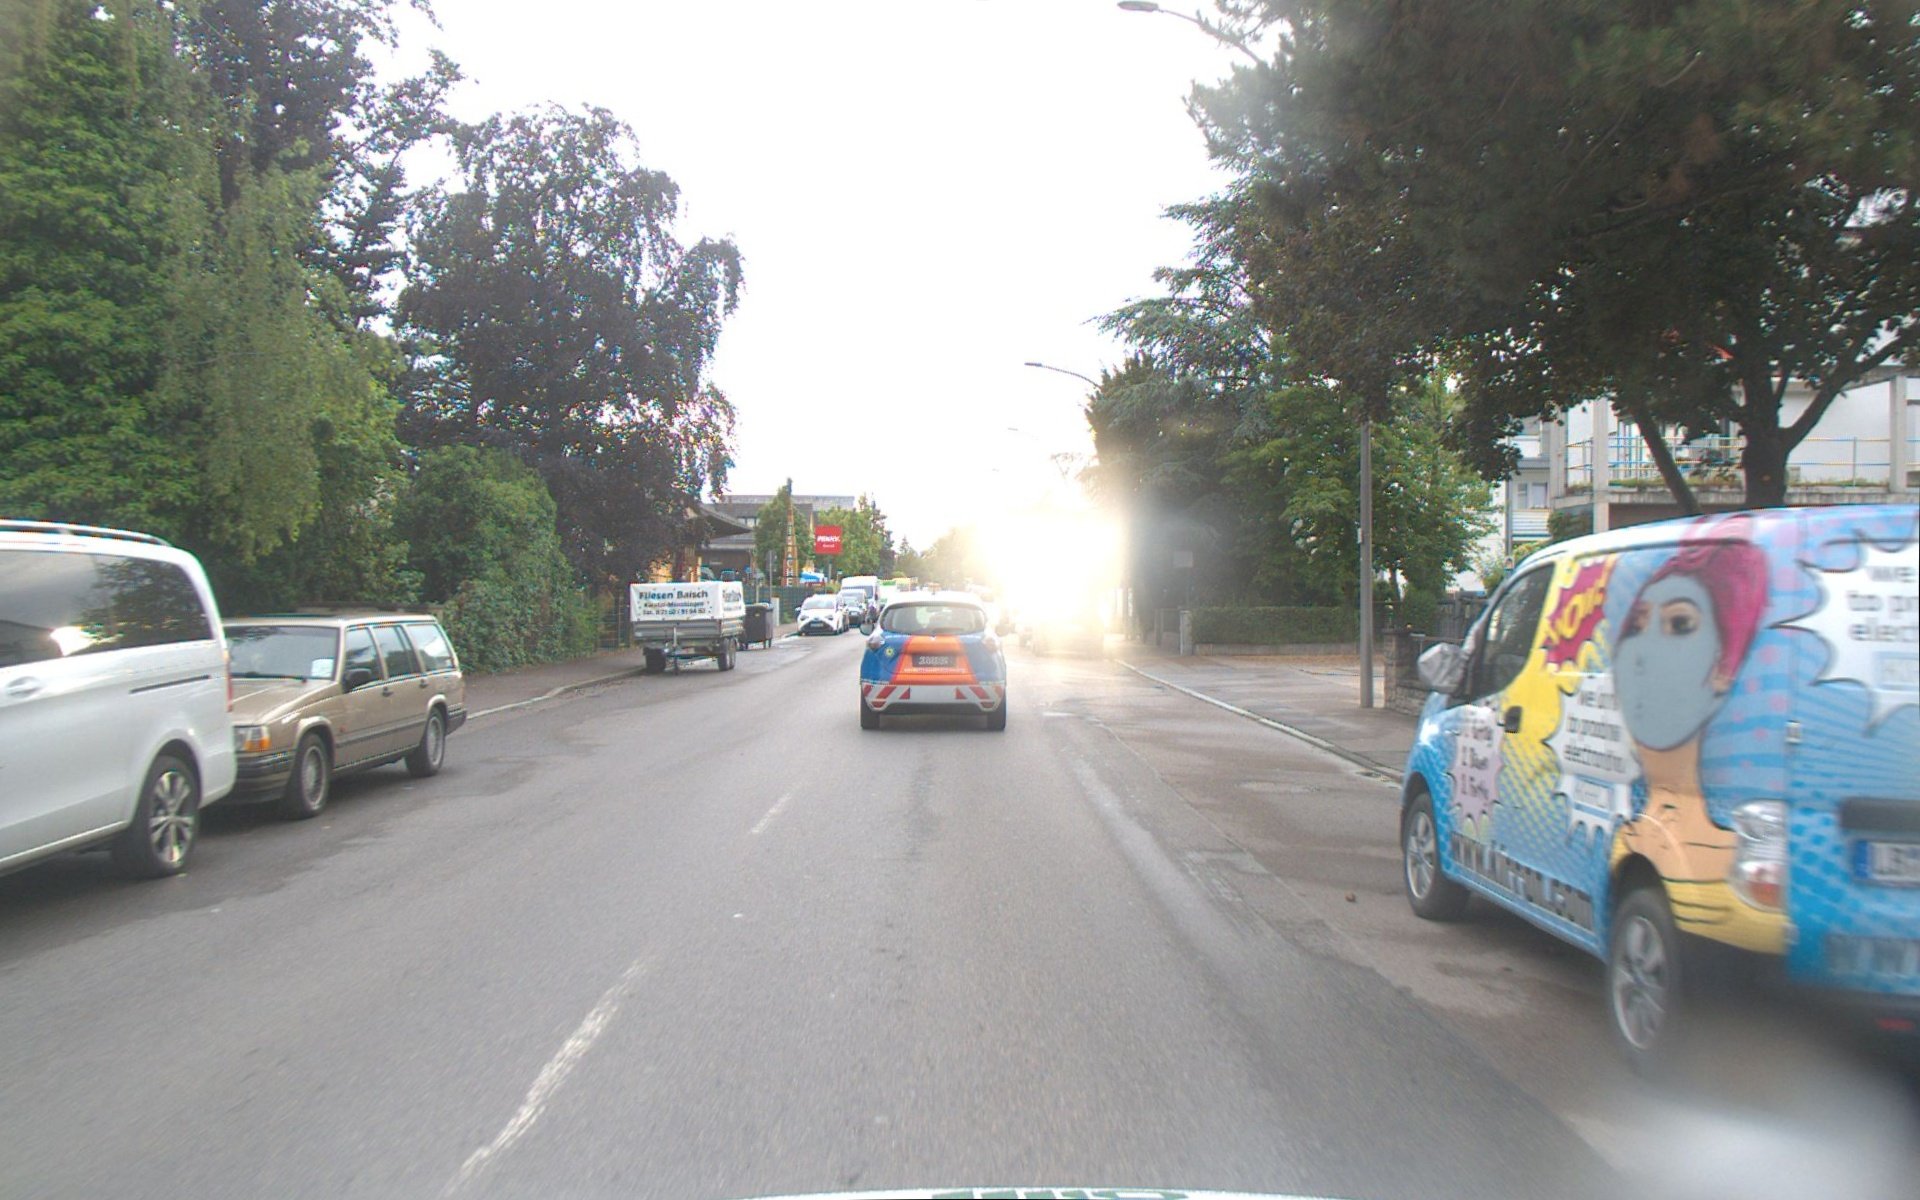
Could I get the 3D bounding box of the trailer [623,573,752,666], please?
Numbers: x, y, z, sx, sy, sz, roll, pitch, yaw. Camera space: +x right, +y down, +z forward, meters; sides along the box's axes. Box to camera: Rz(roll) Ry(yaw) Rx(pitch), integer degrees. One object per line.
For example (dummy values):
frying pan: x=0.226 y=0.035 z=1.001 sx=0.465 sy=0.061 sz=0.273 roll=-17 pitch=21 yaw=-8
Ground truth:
trailer: x=-5.616 y=0.353 z=34.597 sx=1.890 sy=1.796 sz=4.548 roll=1 pitch=1 yaw=0

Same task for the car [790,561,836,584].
car: x=-14.238 y=-2.643 z=160.495 sx=4.218 sy=2.049 sz=2.063 roll=2 pitch=0 yaw=0

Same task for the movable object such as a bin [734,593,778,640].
movable object such as a bin: x=-6.054 y=0.485 z=49.163 sx=1.078 sy=1.333 sz=1.425 roll=2 pitch=0 yaw=-1

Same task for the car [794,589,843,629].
car: x=-5.599 y=0.325 z=65.591 sx=1.583 sy=1.535 sz=3.660 roll=-1 pitch=0 yaw=0

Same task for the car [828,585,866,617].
car: x=-5.427 y=0.030 z=79.895 sx=1.628 sy=1.474 sz=4.316 roll=-1 pitch=0 yaw=-2

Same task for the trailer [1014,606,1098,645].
trailer: x=2.865 y=0.742 z=50.629 sx=2.129 sy=0.913 sz=6.636 roll=2 pitch=1 yaw=0

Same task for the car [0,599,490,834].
car: x=-5.362 y=0.753 z=13.160 sx=1.779 sy=1.452 sz=4.981 roll=-1 pitch=0 yaw=0

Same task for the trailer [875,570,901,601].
trailer: x=-5.629 y=-1.170 z=129.538 sx=1.776 sy=2.354 sz=4.730 roll=-2 pitch=1 yaw=-1

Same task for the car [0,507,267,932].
car: x=-5.280 y=0.553 z=7.720 sx=1.854 sy=1.925 sz=5.210 roll=-1 pitch=0 yaw=0

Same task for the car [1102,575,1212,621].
car: x=8.812 y=-0.089 z=74.227 sx=4.635 sy=1.919 sz=2.000 roll=2 pitch=0 yaw=0

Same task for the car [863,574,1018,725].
car: x=-0.241 y=0.535 z=19.981 sx=1.696 sy=1.659 sz=3.494 roll=0 pitch=0 yaw=-1

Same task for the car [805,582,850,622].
car: x=-5.615 y=0.079 z=70.623 sx=1.627 sy=1.612 sz=3.915 roll=-1 pitch=0 yaw=-1

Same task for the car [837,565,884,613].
car: x=-5.508 y=-0.642 z=92.124 sx=2.114 sy=2.469 sz=6.459 roll=-2 pitch=1 yaw=0

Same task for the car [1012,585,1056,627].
car: x=3.026 y=0.235 z=68.549 sx=1.703 sy=1.649 sz=4.374 roll=2 pitch=0 yaw=2

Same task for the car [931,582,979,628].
car: x=-0.208 y=0.161 z=60.434 sx=1.617 sy=1.548 sz=3.999 roll=2 pitch=0 yaw=-2

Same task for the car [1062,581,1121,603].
car: x=9.158 y=-0.592 z=115.120 sx=3.906 sy=1.455 sz=1.630 roll=1 pitch=1 yaw=-2

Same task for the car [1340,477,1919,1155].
car: x=3.165 y=0.608 z=7.352 sx=1.696 sy=1.860 sz=5.554 roll=3 pitch=0 yaw=1

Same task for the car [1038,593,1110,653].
car: x=2.993 y=0.573 z=44.174 sx=1.704 sy=1.458 sz=4.649 roll=2 pitch=0 yaw=2

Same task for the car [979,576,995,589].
car: x=2.997 y=-1.900 z=181.869 sx=1.557 sy=1.364 sz=4.091 roll=1 pitch=1 yaw=-2

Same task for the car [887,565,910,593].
car: x=-5.935 y=-2.031 z=159.674 sx=2.082 sy=2.582 sz=6.020 roll=1 pitch=1 yaw=-2

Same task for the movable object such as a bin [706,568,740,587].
movable object such as a bin: x=-24.249 y=-2.311 z=169.557 sx=3.356 sy=1.790 sz=1.997 roll=2 pitch=0 yaw=-7

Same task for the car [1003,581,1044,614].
car: x=2.974 y=-0.141 z=78.512 sx=1.703 sy=1.492 sz=4.545 roll=2 pitch=0 yaw=0
